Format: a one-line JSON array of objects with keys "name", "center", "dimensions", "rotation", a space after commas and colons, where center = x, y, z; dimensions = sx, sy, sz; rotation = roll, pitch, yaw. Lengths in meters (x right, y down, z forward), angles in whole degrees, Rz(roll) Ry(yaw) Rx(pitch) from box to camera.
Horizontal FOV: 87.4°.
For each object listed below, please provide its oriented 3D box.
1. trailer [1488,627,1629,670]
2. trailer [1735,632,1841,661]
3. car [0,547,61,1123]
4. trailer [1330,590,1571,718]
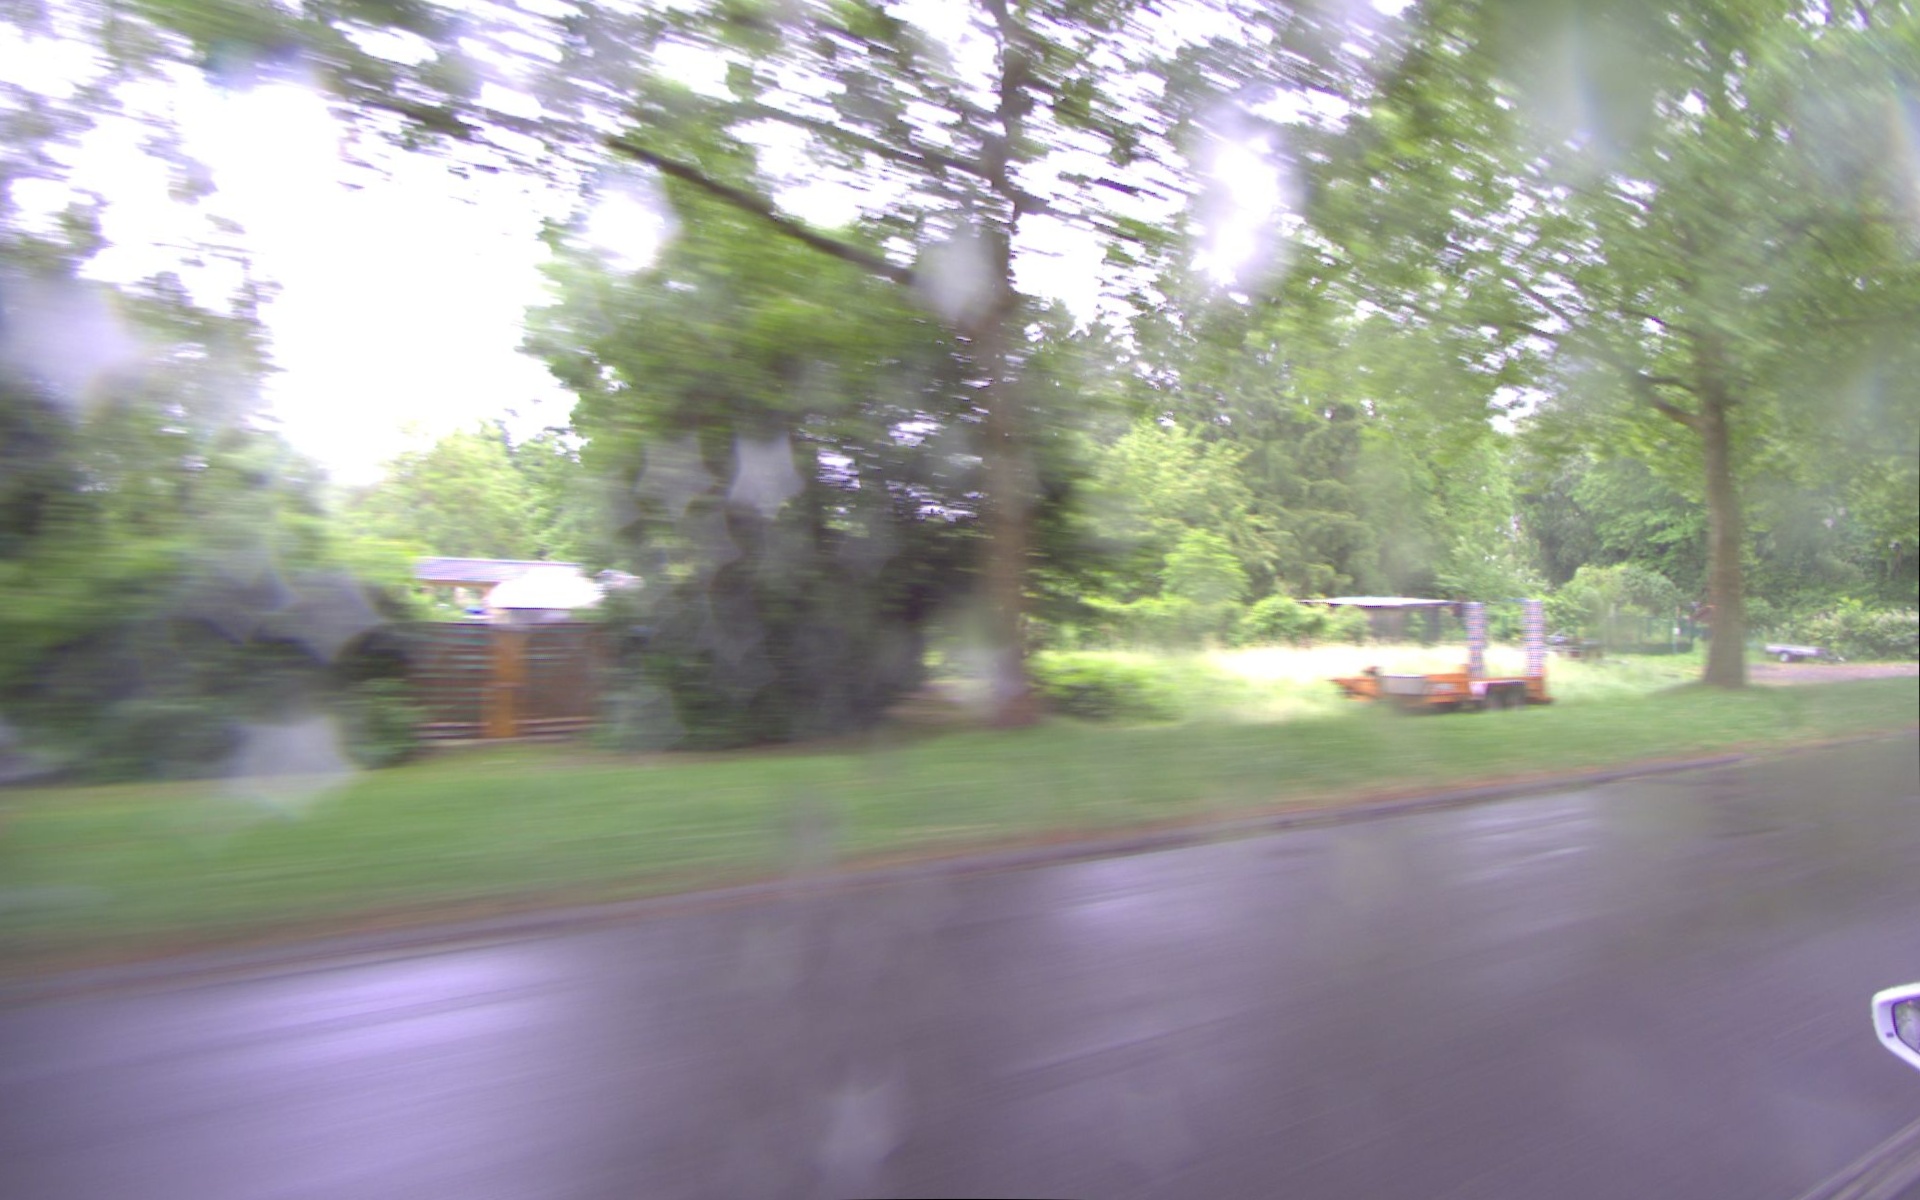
[{"name": "trailer", "center": [22.697, 1.799, 38.221], "dimensions": [1.982, 1.394, 4.202], "rotation": [0, 0, -37]}, {"name": "trailer", "center": [38.795, 2.152, 47.093], "dimensions": [1.806, 1.194, 3.527], "rotation": [0, 0, -37]}, {"name": "car", "center": [-3.973, 0.590, 1.345], "dimensions": [3.837, 1.506, 1.698], "rotation": [1, 1, -31]}, {"name": "trailer", "center": [11.352, 1.138, 23.172], "dimensions": [5.270, 2.602, 2.472], "rotation": [1, 1, -31]}]
